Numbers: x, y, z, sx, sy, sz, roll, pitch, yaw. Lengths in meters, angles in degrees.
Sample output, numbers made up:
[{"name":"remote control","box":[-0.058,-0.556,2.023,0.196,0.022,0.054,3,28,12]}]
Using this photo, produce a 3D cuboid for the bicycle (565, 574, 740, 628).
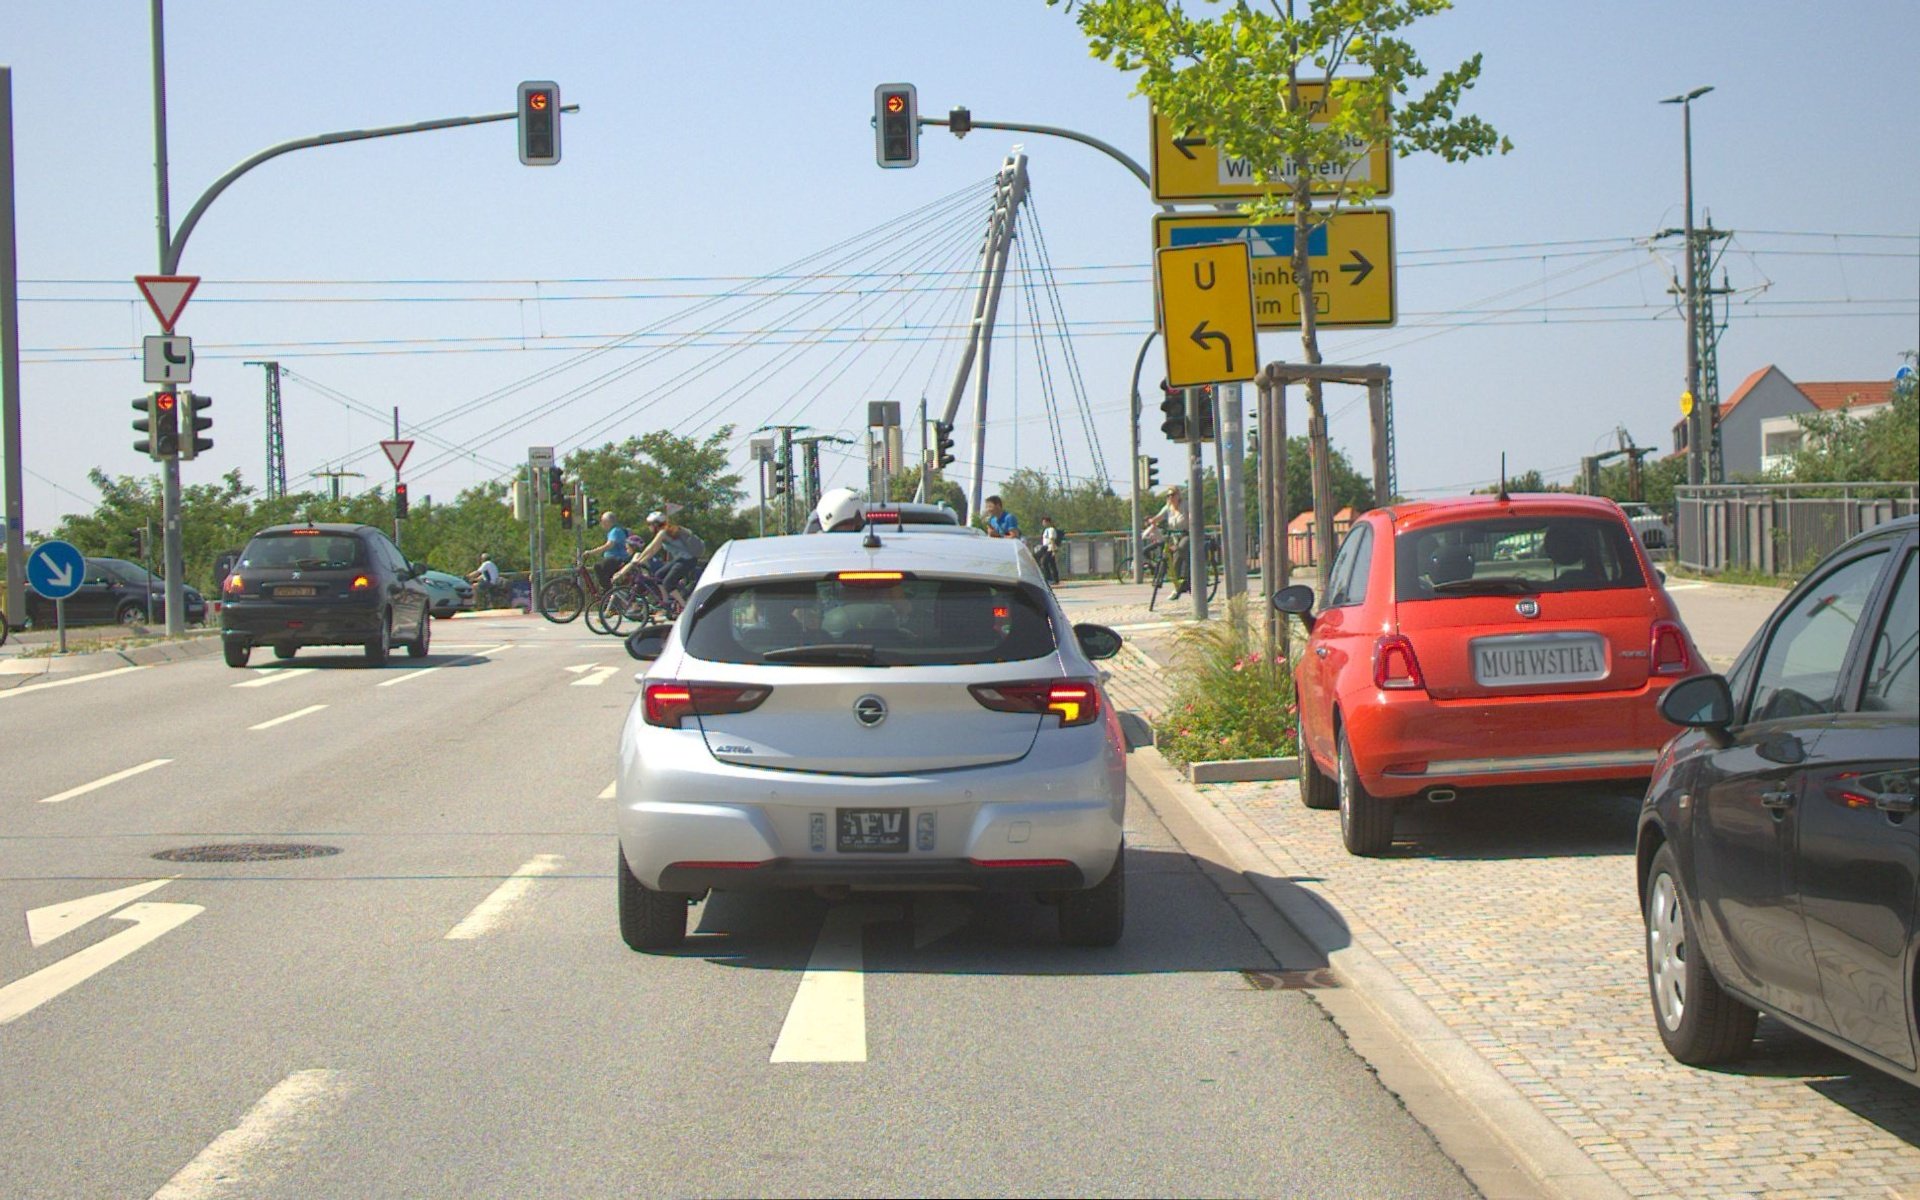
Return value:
[{"name":"bicycle","box":[-4.053,0.012,45.373,2.246,0.690,0.516,0,1,1]}]

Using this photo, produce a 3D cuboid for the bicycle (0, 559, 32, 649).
[{"name":"bicycle","box":[-13.186,0.043,44.787,2.080,1.174,0.555,0,0,-13]}]

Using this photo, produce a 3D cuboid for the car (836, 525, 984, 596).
[{"name":"car","box":[-1.214,-0.953,82.214,3.379,1.650,1.648,0,0,-6]}]

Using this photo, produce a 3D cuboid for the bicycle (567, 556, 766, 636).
[{"name":"bicycle","box":[-3.788,-0.058,44.446,2.504,1.003,0.605,0,1,1]}]

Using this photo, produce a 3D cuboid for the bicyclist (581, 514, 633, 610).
[{"name":"bicyclist","box":[-5.513,-0.595,53.772,0.718,1.499,0.824,0,0,0]}]

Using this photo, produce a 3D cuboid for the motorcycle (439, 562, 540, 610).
[{"name":"motorcycle","box":[-12.248,-0.369,89.560,2.536,1.229,0.648,1,0,-1]}]

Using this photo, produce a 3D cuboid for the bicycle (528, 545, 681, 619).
[{"name":"bicycle","box":[-5.550,-0.282,53.763,2.319,1.129,0.637,0,1,1]}]

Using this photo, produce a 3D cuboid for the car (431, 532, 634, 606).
[{"name":"car","box":[-8.602,-0.634,69.364,3.791,1.357,1.532,-1,2,6]}]

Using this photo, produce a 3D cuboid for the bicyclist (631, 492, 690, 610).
[{"name":"bicyclist","box":[-3.868,-0.632,44.443,0.657,1.497,0.844,1,0,1]}]

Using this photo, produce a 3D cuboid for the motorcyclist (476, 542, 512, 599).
[{"name":"motorcyclist","box":[-12.125,-0.765,89.529,0.809,1.471,0.885,1,0,0]}]

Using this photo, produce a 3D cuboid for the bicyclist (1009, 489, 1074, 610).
[{"name":"bicyclist","box":[1.071,-0.662,45.005,0.822,1.554,0.863,1,0,3]}]

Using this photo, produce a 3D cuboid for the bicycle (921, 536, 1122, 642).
[{"name":"bicycle","box":[0.818,-0.149,44.986,2.524,1.130,0.728,-5,3,3]}]

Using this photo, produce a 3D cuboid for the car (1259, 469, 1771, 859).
[{"name":"car","box":[2.464,0.244,16.165,1.669,1.534,3.917,-3,1,-1]}]

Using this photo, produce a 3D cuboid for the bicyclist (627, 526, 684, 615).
[{"name":"bicyclist","box":[-4.014,-0.389,45.376,0.657,1.171,0.731,1,0,1]}]

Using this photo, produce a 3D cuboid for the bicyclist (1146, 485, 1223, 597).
[{"name":"bicyclist","box":[3.151,-0.825,48.220,0.821,1.563,0.947,1,0,21]}]

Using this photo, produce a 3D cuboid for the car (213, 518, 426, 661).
[{"name":"car","box":[-6.540,-0.120,35.376,1.587,1.390,3.340,-1,1,-1]}]

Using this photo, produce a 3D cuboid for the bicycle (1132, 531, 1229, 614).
[{"name":"bicycle","box":[3.098,-0.380,48.054,0.676,1.123,2.363,1,1,21]}]

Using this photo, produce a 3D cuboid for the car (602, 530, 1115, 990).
[{"name":"car","box":[-0.357,0.486,13.517,1.690,1.514,4.271,0,1,-1]}]

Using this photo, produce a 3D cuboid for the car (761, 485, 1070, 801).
[{"name":"car","box":[-0.264,0.212,20.314,1.634,1.668,3.745,1,1,-1]}]

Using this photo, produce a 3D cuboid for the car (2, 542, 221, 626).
[{"name":"car","box":[-16.744,-0.325,67.917,3.749,1.577,1.813,0,3,10]}]

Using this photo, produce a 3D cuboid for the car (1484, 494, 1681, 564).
[{"name":"car","box":[15.063,-1.703,83.238,4.244,1.668,2.001,0,1,-17]}]

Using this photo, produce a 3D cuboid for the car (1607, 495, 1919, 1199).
[{"name":"car","box":[2.653,0.536,7.810,1.581,1.550,3.547,-3,2,-1]}]
